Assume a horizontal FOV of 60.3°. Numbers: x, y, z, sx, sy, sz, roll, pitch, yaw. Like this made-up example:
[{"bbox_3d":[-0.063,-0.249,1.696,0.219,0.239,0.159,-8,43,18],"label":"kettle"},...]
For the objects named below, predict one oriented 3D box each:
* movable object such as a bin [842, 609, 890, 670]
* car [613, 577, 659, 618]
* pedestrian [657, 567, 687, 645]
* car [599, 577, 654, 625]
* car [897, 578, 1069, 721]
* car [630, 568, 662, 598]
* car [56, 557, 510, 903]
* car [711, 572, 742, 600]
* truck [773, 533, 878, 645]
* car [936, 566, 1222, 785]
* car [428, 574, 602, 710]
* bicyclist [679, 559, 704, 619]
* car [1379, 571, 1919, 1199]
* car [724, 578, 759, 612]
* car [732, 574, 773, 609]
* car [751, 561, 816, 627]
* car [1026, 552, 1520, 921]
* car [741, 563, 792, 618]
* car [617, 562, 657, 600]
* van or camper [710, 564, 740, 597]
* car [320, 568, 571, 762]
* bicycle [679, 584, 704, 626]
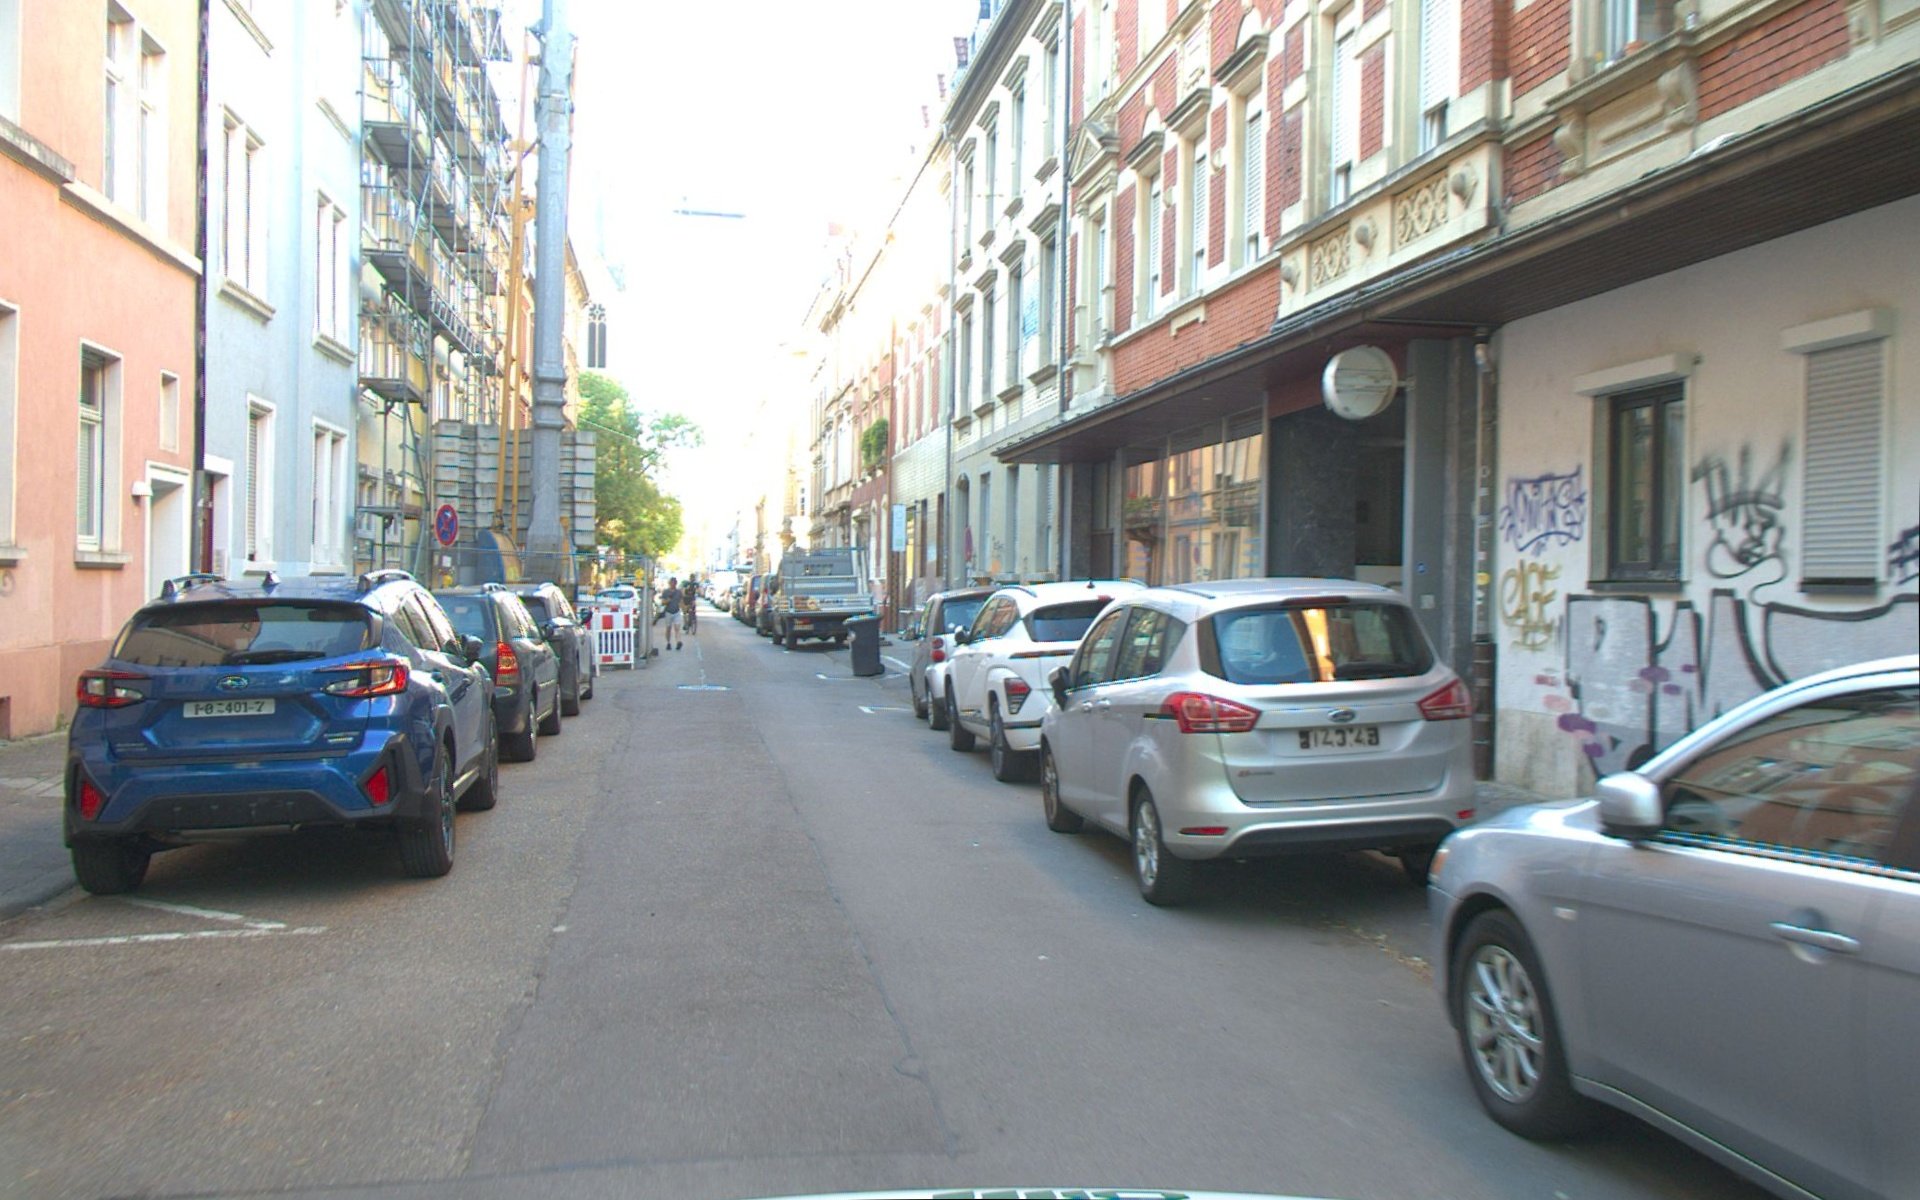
[{"bbox_3d":[-1.706,0.716,29.947,0.780,1.074,0.658,1,0,-10],"label":"movable object such as a bin"},{"bbox_3d":[-12.113,-0.106,61.772,1.645,1.470,3.858,0,0,-12],"label":"car"},{"bbox_3d":[-6.628,0.125,38.110,0.646,1.763,0.718,-1,1,-10],"label":"pedestrian"},{"bbox_3d":[-10.708,0.008,53.088,1.645,1.470,3.858,0,0,-12],"label":"car"},{"bbox_3d":[0.190,0.535,20.385,1.567,1.587,3.807,0,1,-8],"label":"car"},{"bbox_3d":[-19.844,-1.072,104.585,1.958,1.881,3.990,0,1,-11],"label":"car"},{"bbox_3d":[-3.703,0.567,9.829,1.699,1.566,4.365,-1,1,-12],"label":"car"},{"bbox_3d":[-16.301,-0.996,115.399,1.958,1.881,3.990,0,1,-11],"label":"car"},{"bbox_3d":[-3.503,-0.302,42.044,2.150,2.652,5.221,0,1,-11],"label":"truck"},{"bbox_3d":[0.914,0.577,15.145,1.714,1.705,4.332,0,0,-8],"label":"car"},{"bbox_3d":[-5.410,0.451,20.594,1.644,1.503,4.597,0,0,-10],"label":"car"},{"bbox_3d":[-8.210,-0.344,50.582,0.717,1.792,0.833,2,1,-9],"label":"bicyclist"},{"bbox_3d":[2.629,0.748,3.607,1.690,1.589,4.389,1,1,-10],"label":"car"},{"bbox_3d":[-13.494,-0.326,102.005,1.958,2.049,3.990,1,1,-11],"label":"car"},{"bbox_3d":[-9.800,-0.395,77.897,1.645,1.598,3.858,0,0,-12],"label":"car"},{"bbox_3d":[-5.618,-0.186,52.310,1.645,1.997,4.097,0,0,-12],"label":"car"},{"bbox_3d":[1.550,0.623,9.583,1.609,1.685,3.862,1,0,-9],"label":"car"},{"bbox_3d":[-7.576,-0.378,64.626,1.645,2.066,3.858,0,0,-12],"label":"car"},{"bbox_3d":[-14.019,-0.807,71.739,1.645,1.598,3.858,0,0,-12],"label":"car"},{"bbox_3d":[-18.525,-1.572,130.102,1.960,2.552,4.188,0,1,-14],"label":"van or camper"},{"bbox_3d":[-4.623,0.502,15.435,1.644,1.538,4.404,0,0,-10],"label":"car"},{"bbox_3d":[-8.210,0.151,50.565,0.711,1.207,2.038,2,1,-9],"label":"bicycle"}]
